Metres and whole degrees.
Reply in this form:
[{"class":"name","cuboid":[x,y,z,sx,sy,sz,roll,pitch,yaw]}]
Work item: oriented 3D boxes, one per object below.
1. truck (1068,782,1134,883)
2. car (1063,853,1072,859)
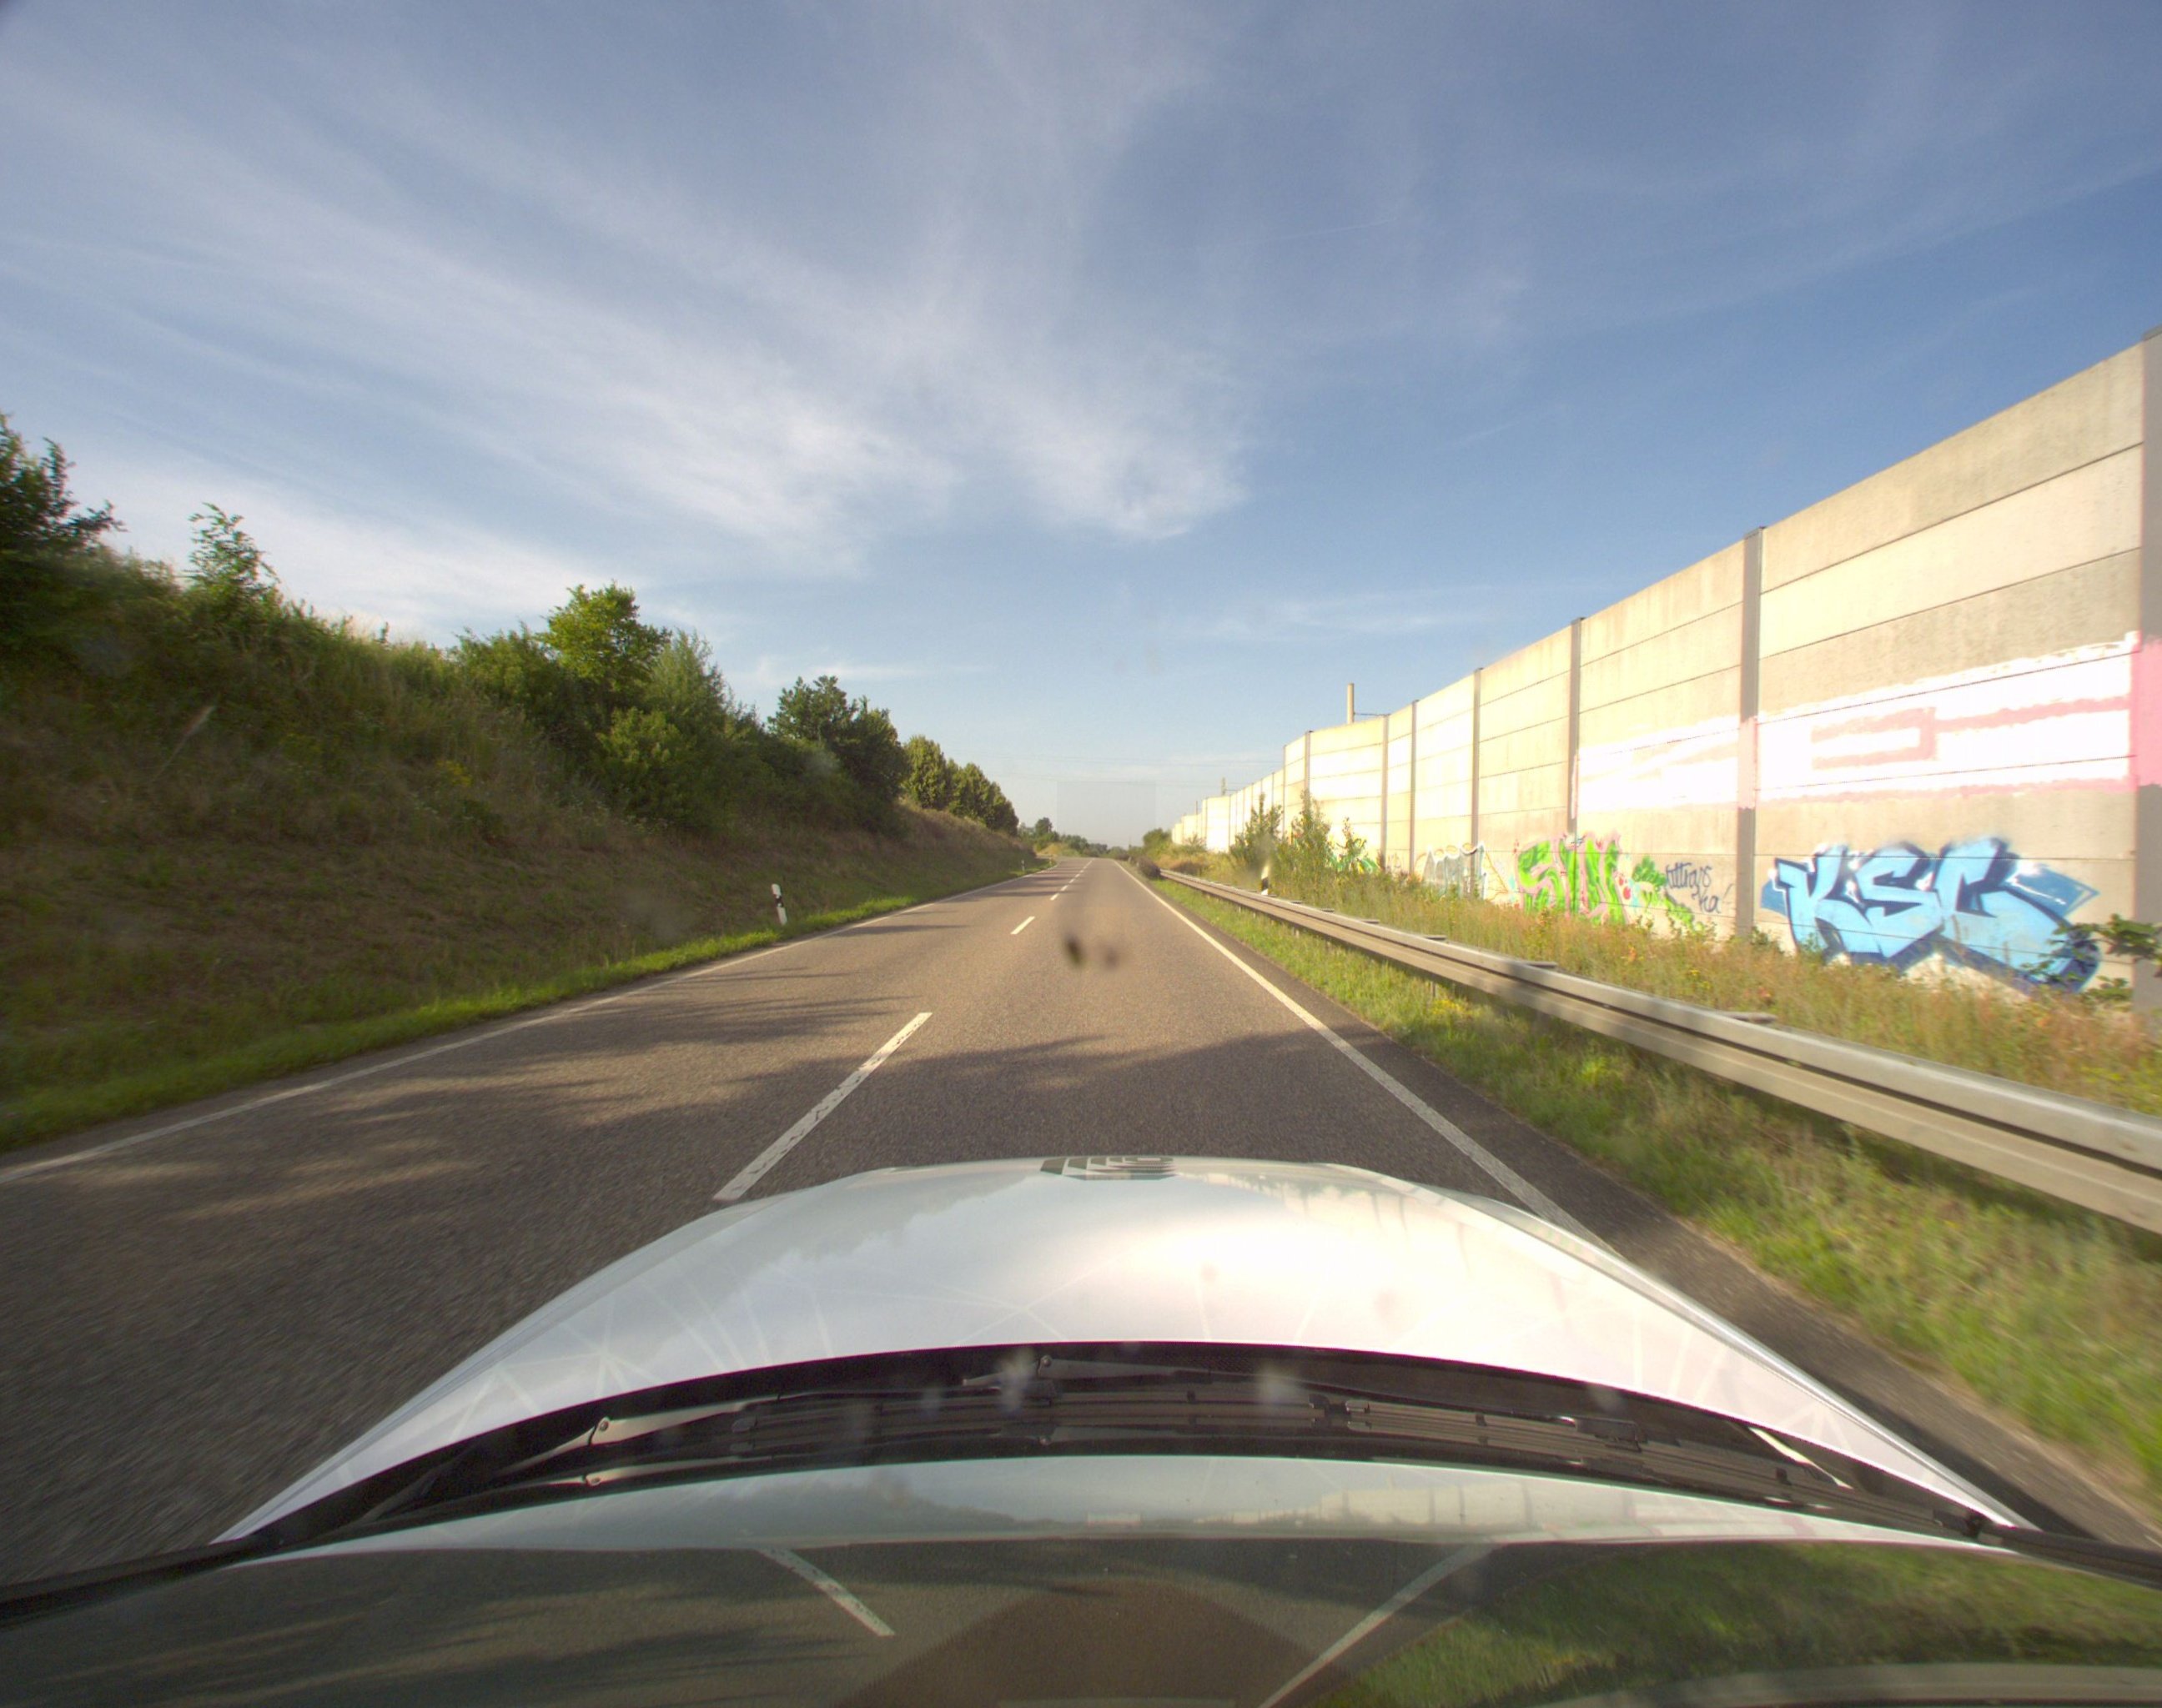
[{"class":"truck","cuboid":[0.997,-1.124,47.069,3.280,5.090,12.035,0,0,0]},{"class":"car","cuboid":[-3.479,0.540,206.111,2.039,1.581,4.361,0,0,2]}]
